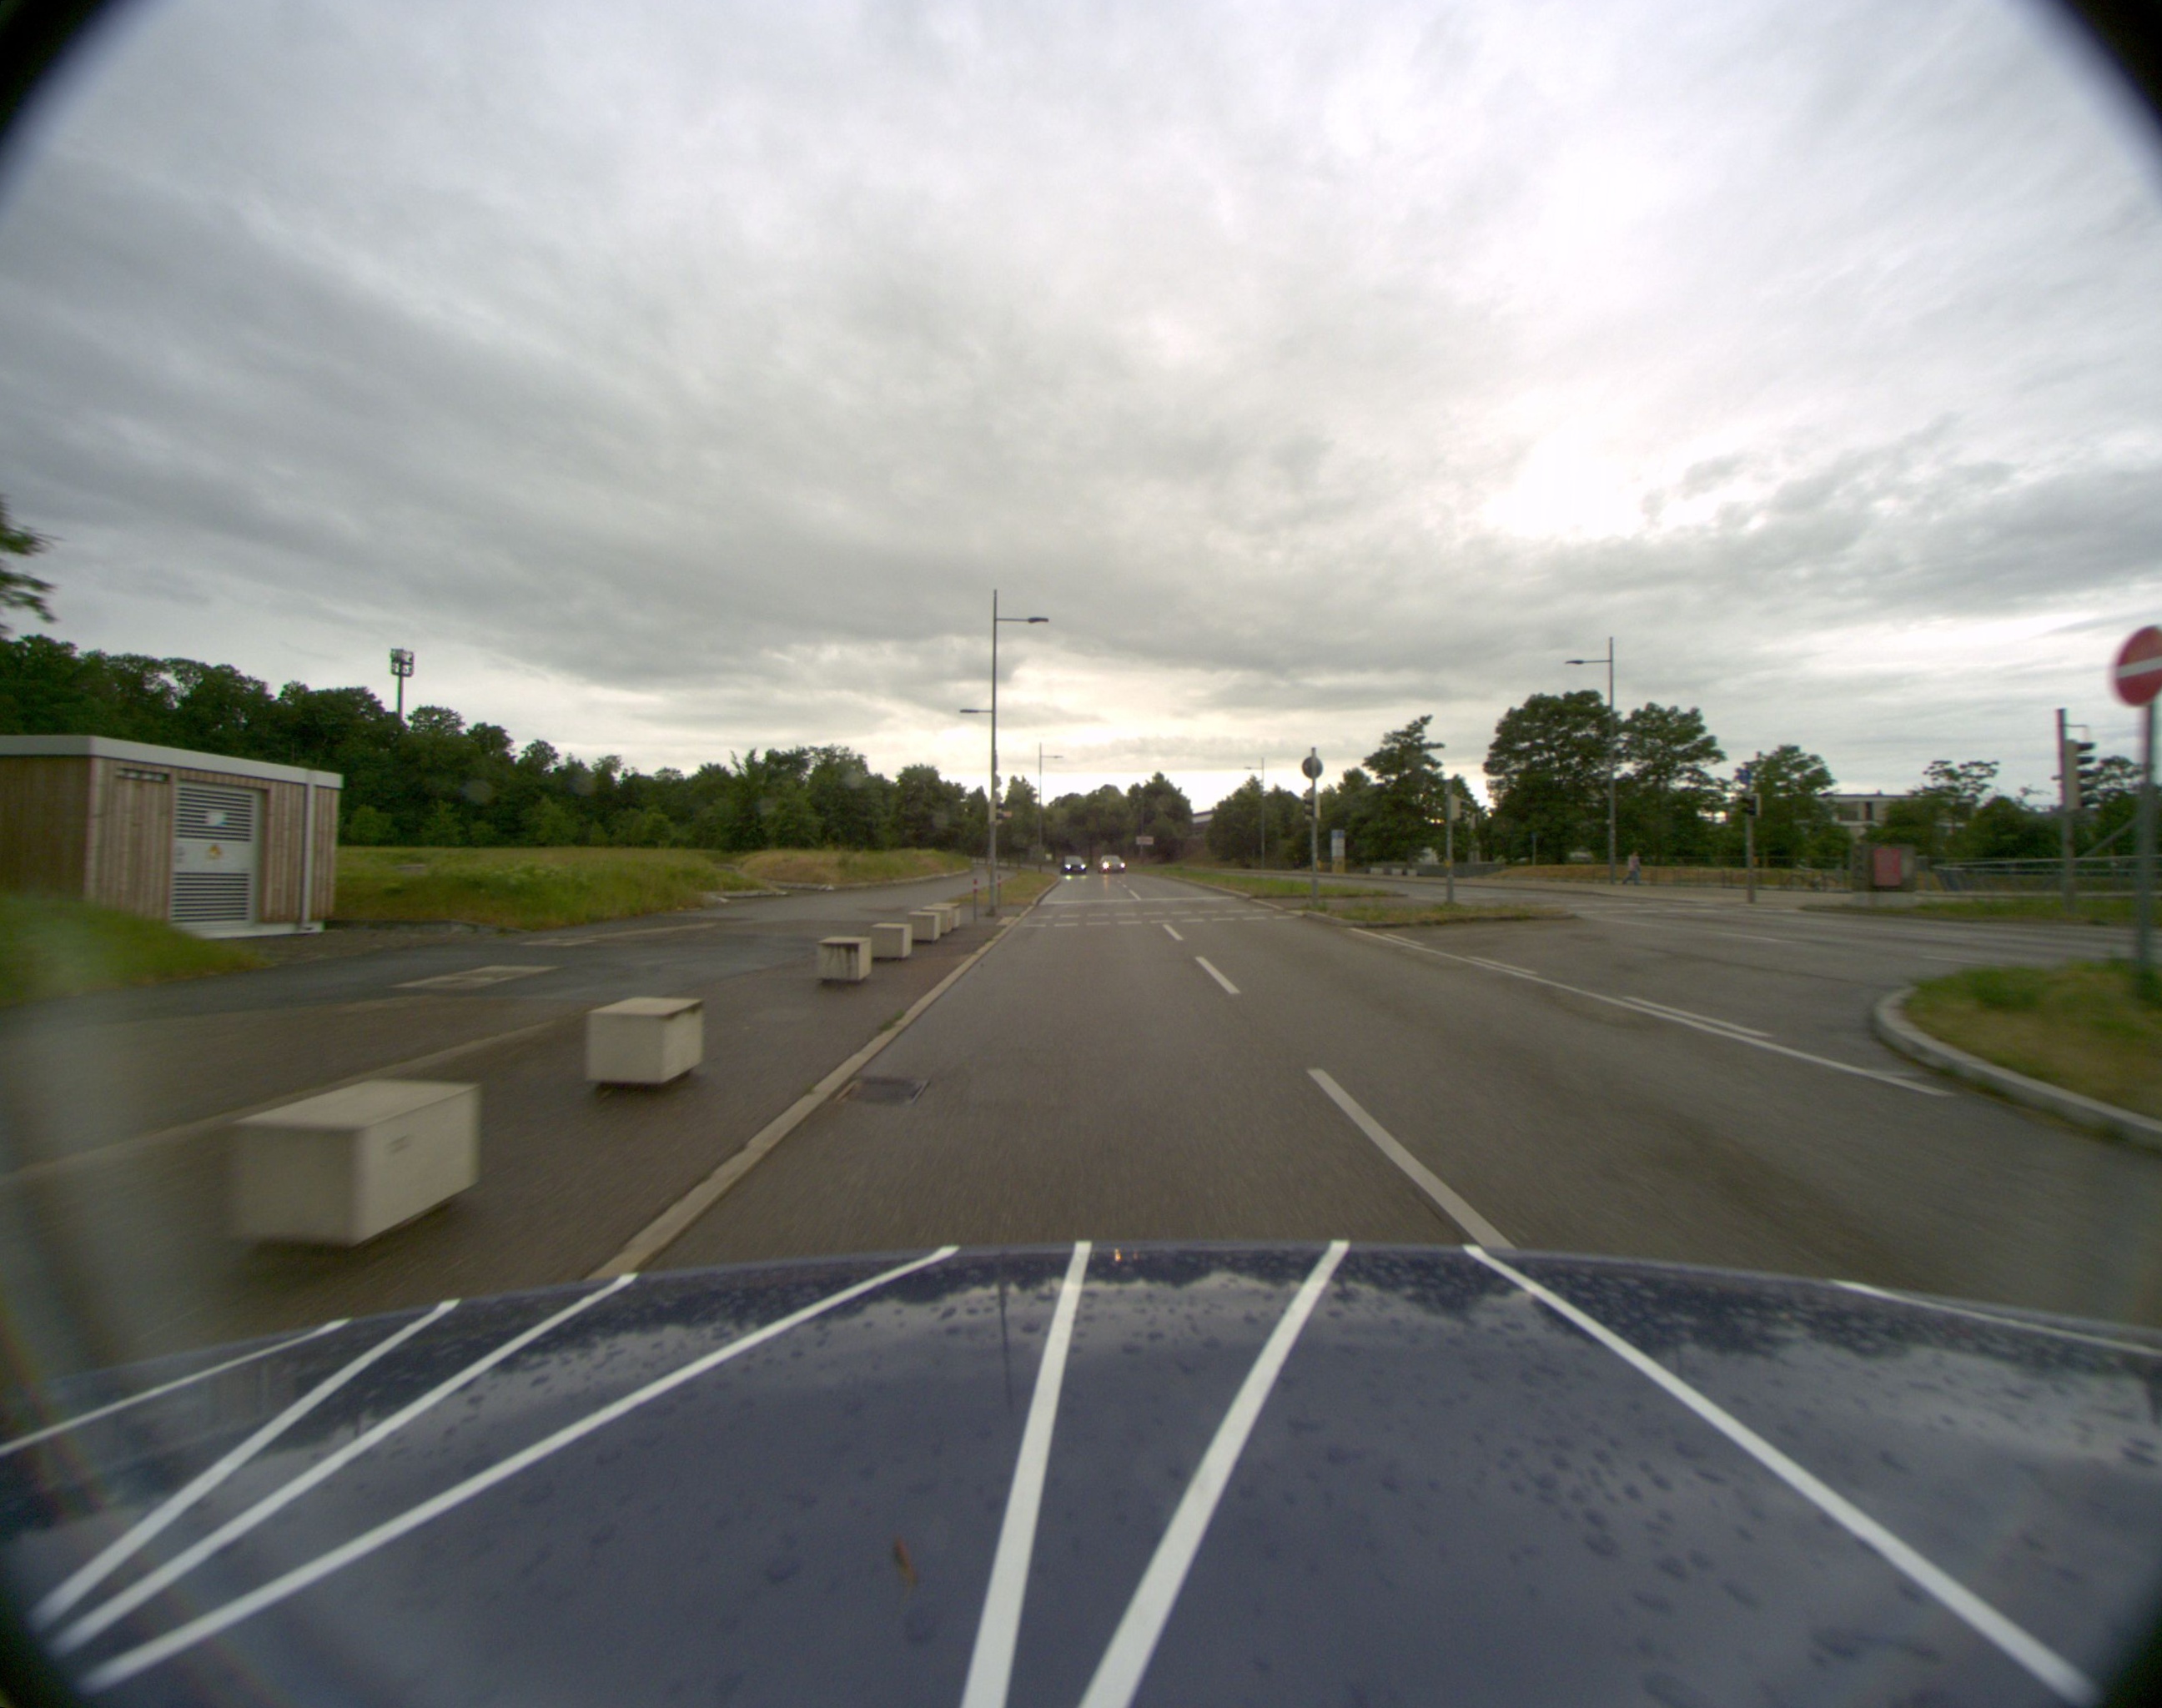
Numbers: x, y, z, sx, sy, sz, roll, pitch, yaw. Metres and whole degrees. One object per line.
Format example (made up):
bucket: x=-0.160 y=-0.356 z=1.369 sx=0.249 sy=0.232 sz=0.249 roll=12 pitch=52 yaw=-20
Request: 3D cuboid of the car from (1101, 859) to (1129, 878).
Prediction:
car: x=2.720 y=1.186 z=61.633 sx=1.811 sy=1.421 sz=4.196 roll=-1 pitch=-1 yaw=-5

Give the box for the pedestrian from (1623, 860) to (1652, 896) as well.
pedestrian: x=24.831 y=1.071 z=33.899 sx=0.616 sy=1.584 sz=0.813 roll=0 pitch=-2 yaw=-4

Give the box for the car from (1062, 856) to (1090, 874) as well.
car: x=-0.452 y=0.925 z=61.251 sx=1.990 sy=1.390 sz=4.176 roll=0 pitch=-2 yaw=-4
